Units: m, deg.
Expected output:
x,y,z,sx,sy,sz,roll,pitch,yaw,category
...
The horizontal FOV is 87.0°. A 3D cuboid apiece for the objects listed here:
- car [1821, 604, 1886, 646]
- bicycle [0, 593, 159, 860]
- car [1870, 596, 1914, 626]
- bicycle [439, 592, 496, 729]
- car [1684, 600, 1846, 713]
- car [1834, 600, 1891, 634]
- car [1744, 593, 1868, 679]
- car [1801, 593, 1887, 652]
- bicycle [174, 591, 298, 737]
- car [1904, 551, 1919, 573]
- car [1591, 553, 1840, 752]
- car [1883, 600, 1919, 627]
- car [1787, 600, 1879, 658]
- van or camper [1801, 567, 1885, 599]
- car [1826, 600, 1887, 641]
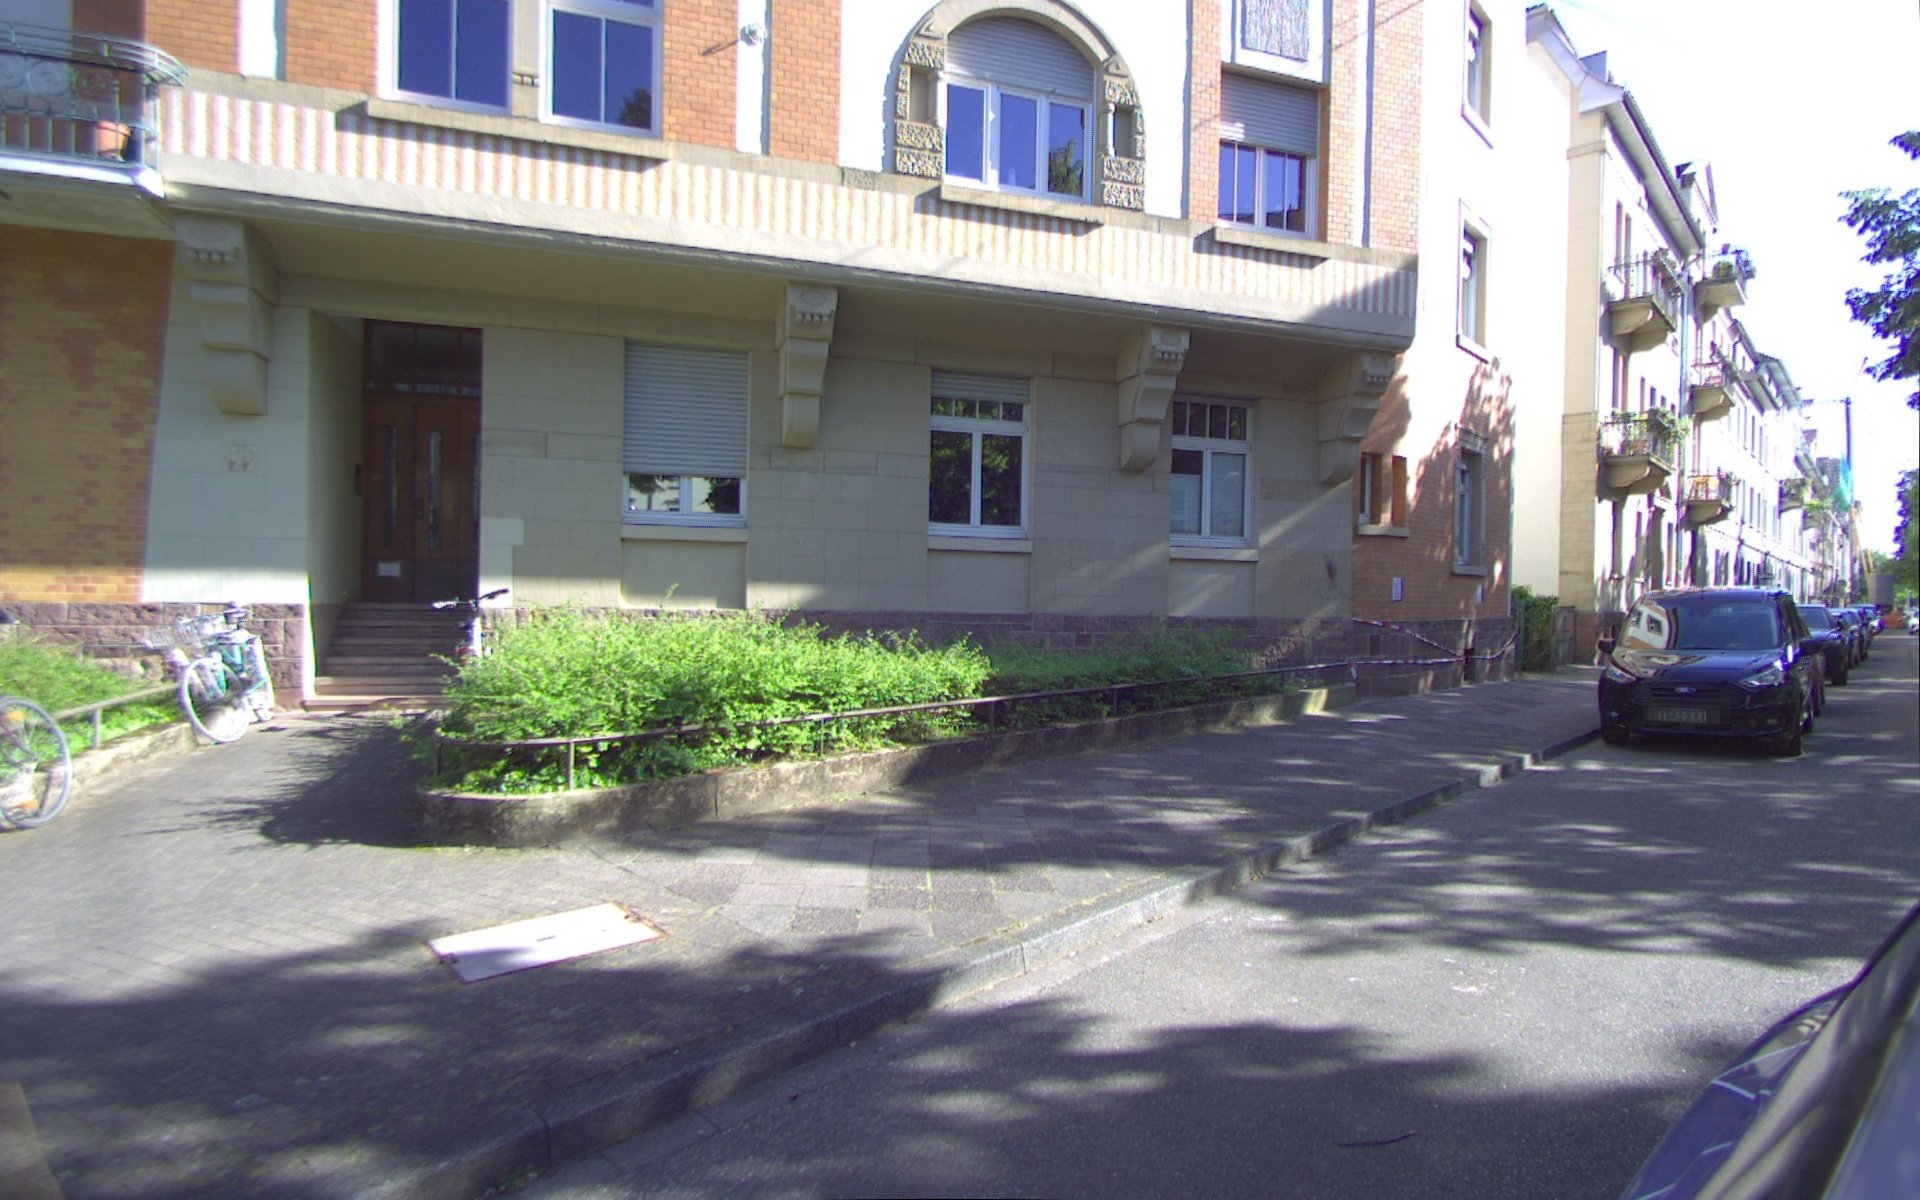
x,y,z,sx,sy,sz,roll,pitch,yaw,category
33.495,0.892,37.901,1.692,1.486,3.942,-1,-1,44,car
-4.712,0.575,5.073,0.380,1.174,2.235,1,1,-20,bicycle
51.812,0.581,56.265,1.600,1.510,3.903,5,4,45,car
-4.301,0.480,8.887,0.265,1.074,1.567,1,1,-20,bicycle
12.813,0.808,16.015,1.644,1.557,3.937,-3,-2,43,car
40.801,0.745,45.718,1.770,1.449,4.223,0,0,44,car
18.279,0.710,21.858,1.862,1.664,4.425,-1,-1,41,car
26.569,0.631,30.393,1.804,1.583,4.254,2,1,42,car
-6.004,0.475,8.470,0.380,1.074,1.687,1,1,-20,bicycle
74.006,-2.971,76.042,1.666,1.546,4.106,1,-3,-16,car
8.924,0.534,11.806,1.800,1.895,4.206,-4,-2,43,car
53.706,0.754,57.691,1.606,1.438,4.498,2,1,42,car
23.181,0.729,26.830,1.590,1.433,3.573,-1,-1,45,car
89.574,-1.744,102.777,2.349,3.039,6.047,1,1,-18,van or camper
36.531,0.800,41.202,1.766,1.571,4.118,-2,-1,43,car
